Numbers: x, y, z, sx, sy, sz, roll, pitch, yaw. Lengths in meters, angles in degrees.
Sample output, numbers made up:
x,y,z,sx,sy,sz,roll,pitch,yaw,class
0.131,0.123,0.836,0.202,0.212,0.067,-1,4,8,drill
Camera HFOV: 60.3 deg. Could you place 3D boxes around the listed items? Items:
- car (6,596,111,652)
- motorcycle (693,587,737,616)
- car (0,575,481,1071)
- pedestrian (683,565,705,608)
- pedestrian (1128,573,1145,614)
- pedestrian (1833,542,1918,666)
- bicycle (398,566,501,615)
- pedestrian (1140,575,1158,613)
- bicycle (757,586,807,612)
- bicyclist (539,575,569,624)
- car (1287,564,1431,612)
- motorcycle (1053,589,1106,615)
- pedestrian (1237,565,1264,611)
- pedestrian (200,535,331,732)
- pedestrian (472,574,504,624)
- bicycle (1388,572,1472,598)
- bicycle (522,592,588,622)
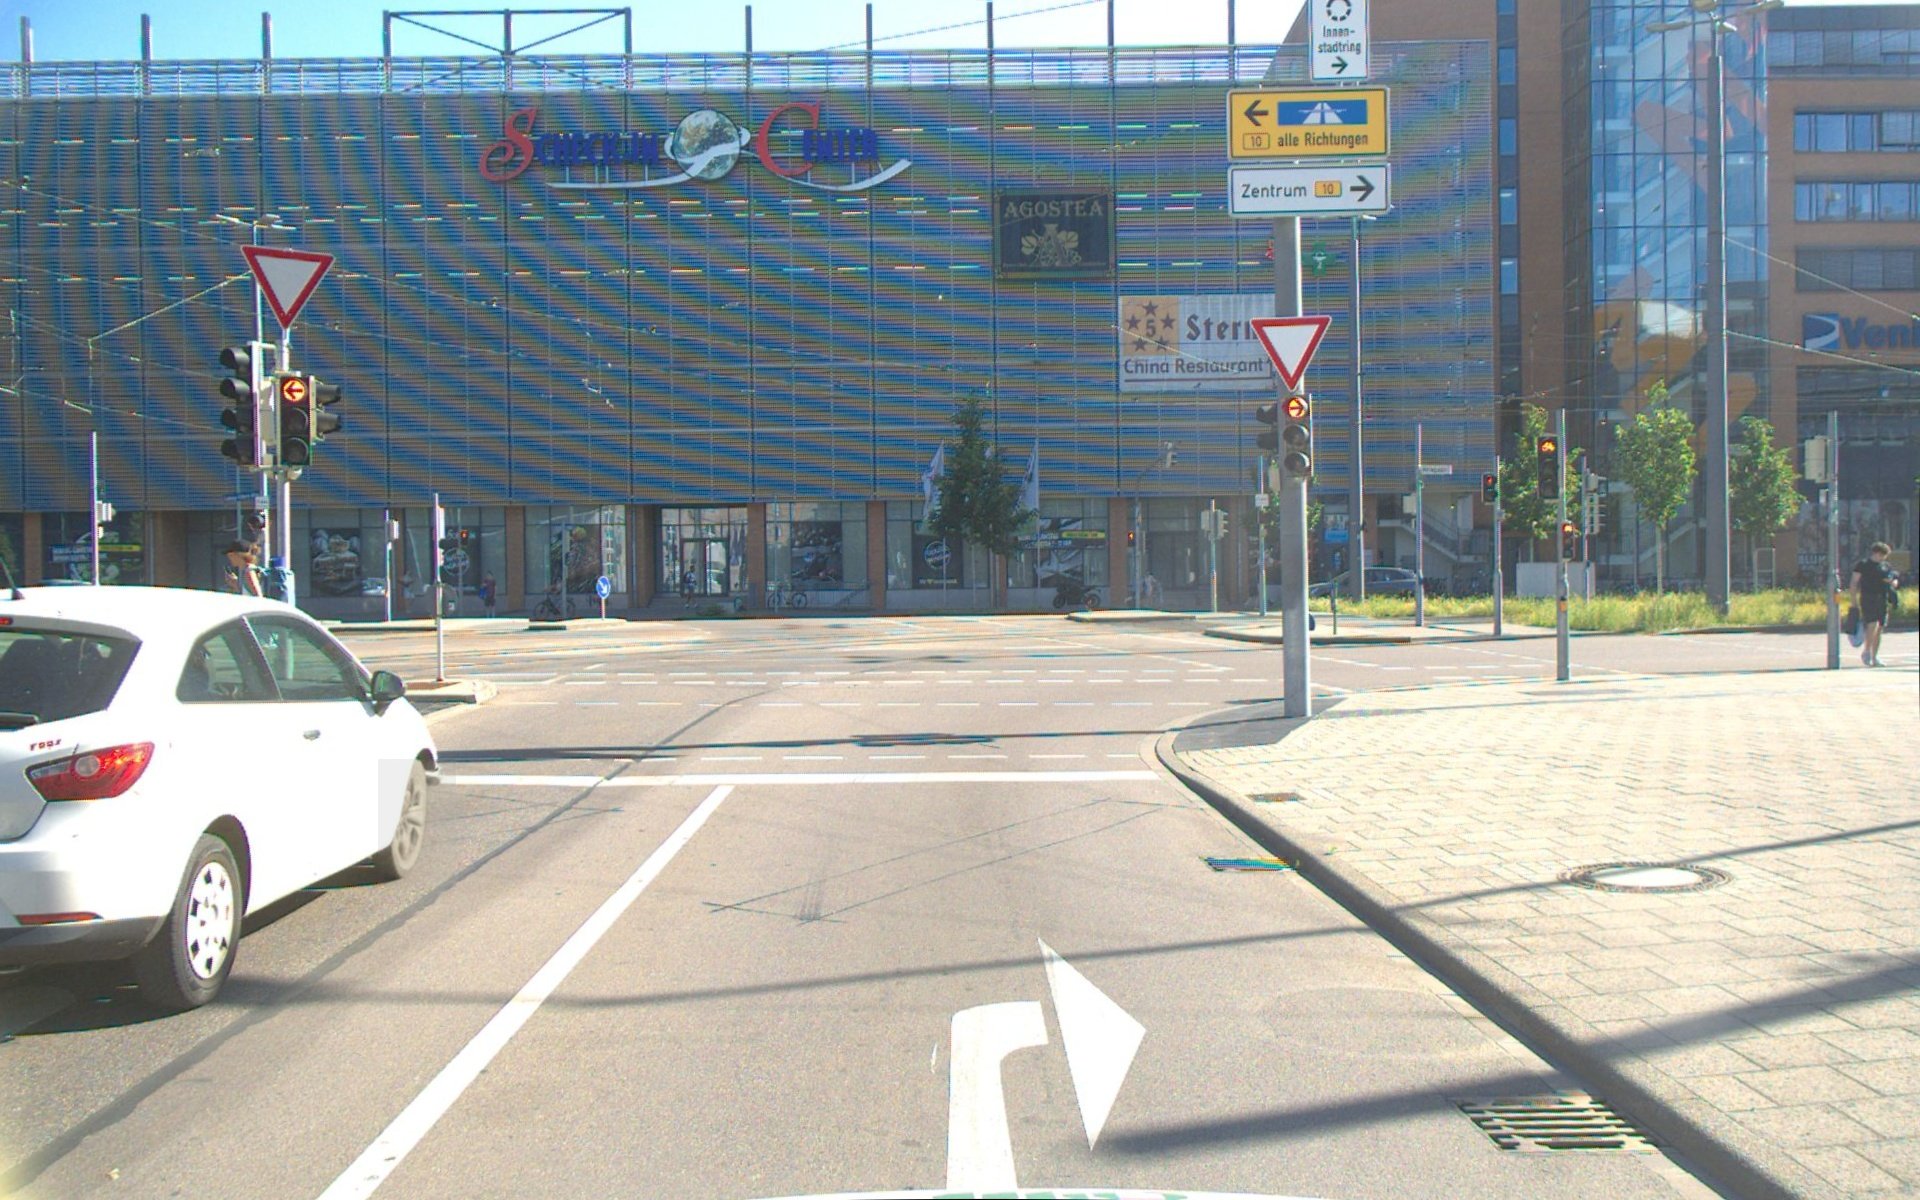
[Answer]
x,y,z,sx,sy,sz,roll,pitch,yaw,class
-31.539,0.816,57.845,3.921,1.825,1.751,1,0,37,car
-9.503,0.059,64.164,1.616,1.078,0.498,-1,0,8,motorcycle
-3.316,0.648,6.851,1.599,1.448,3.781,2,1,-1,car
-11.196,-0.570,69.605,0.831,1.794,0.620,-1,0,-2,pedestrian
6.893,-0.254,64.696,0.577,1.561,0.658,-1,0,-2,pedestrian
13.114,0.052,23.713,0.790,1.738,0.761,-1,0,-2,pedestrian
-21.586,-0.399,69.998,3.906,2.048,1.330,0,1,-1,bicycle
7.479,-0.230,65.475,0.577,1.488,0.658,-1,0,-2,pedestrian
-7.421,-0.050,69.121,1.985,1.078,1.144,-1,1,-2,bicycle
-15.499,-0.021,63.134,0.838,1.834,0.803,-1,1,-43,bicyclist
13.160,-0.396,54.695,4.396,1.521,1.494,-1,1,-1,car
5.012,0.063,69.498,2.158,1.061,1.061,0,1,-1,motorcycle
11.471,-0.476,65.251,0.837,1.768,0.752,-1,0,-8,pedestrian
-6.291,0.294,15.019,0.868,1.737,0.712,-1,0,-2,pedestrian
-18.113,-0.053,63.416,0.890,1.901,0.816,0,1,41,pedestrian
20.040,-0.647,70.605,3.289,1.096,1.117,0,1,5,bicycle
-15.491,0.246,63.240,2.226,1.089,1.030,-1,1,-42,bicycle
